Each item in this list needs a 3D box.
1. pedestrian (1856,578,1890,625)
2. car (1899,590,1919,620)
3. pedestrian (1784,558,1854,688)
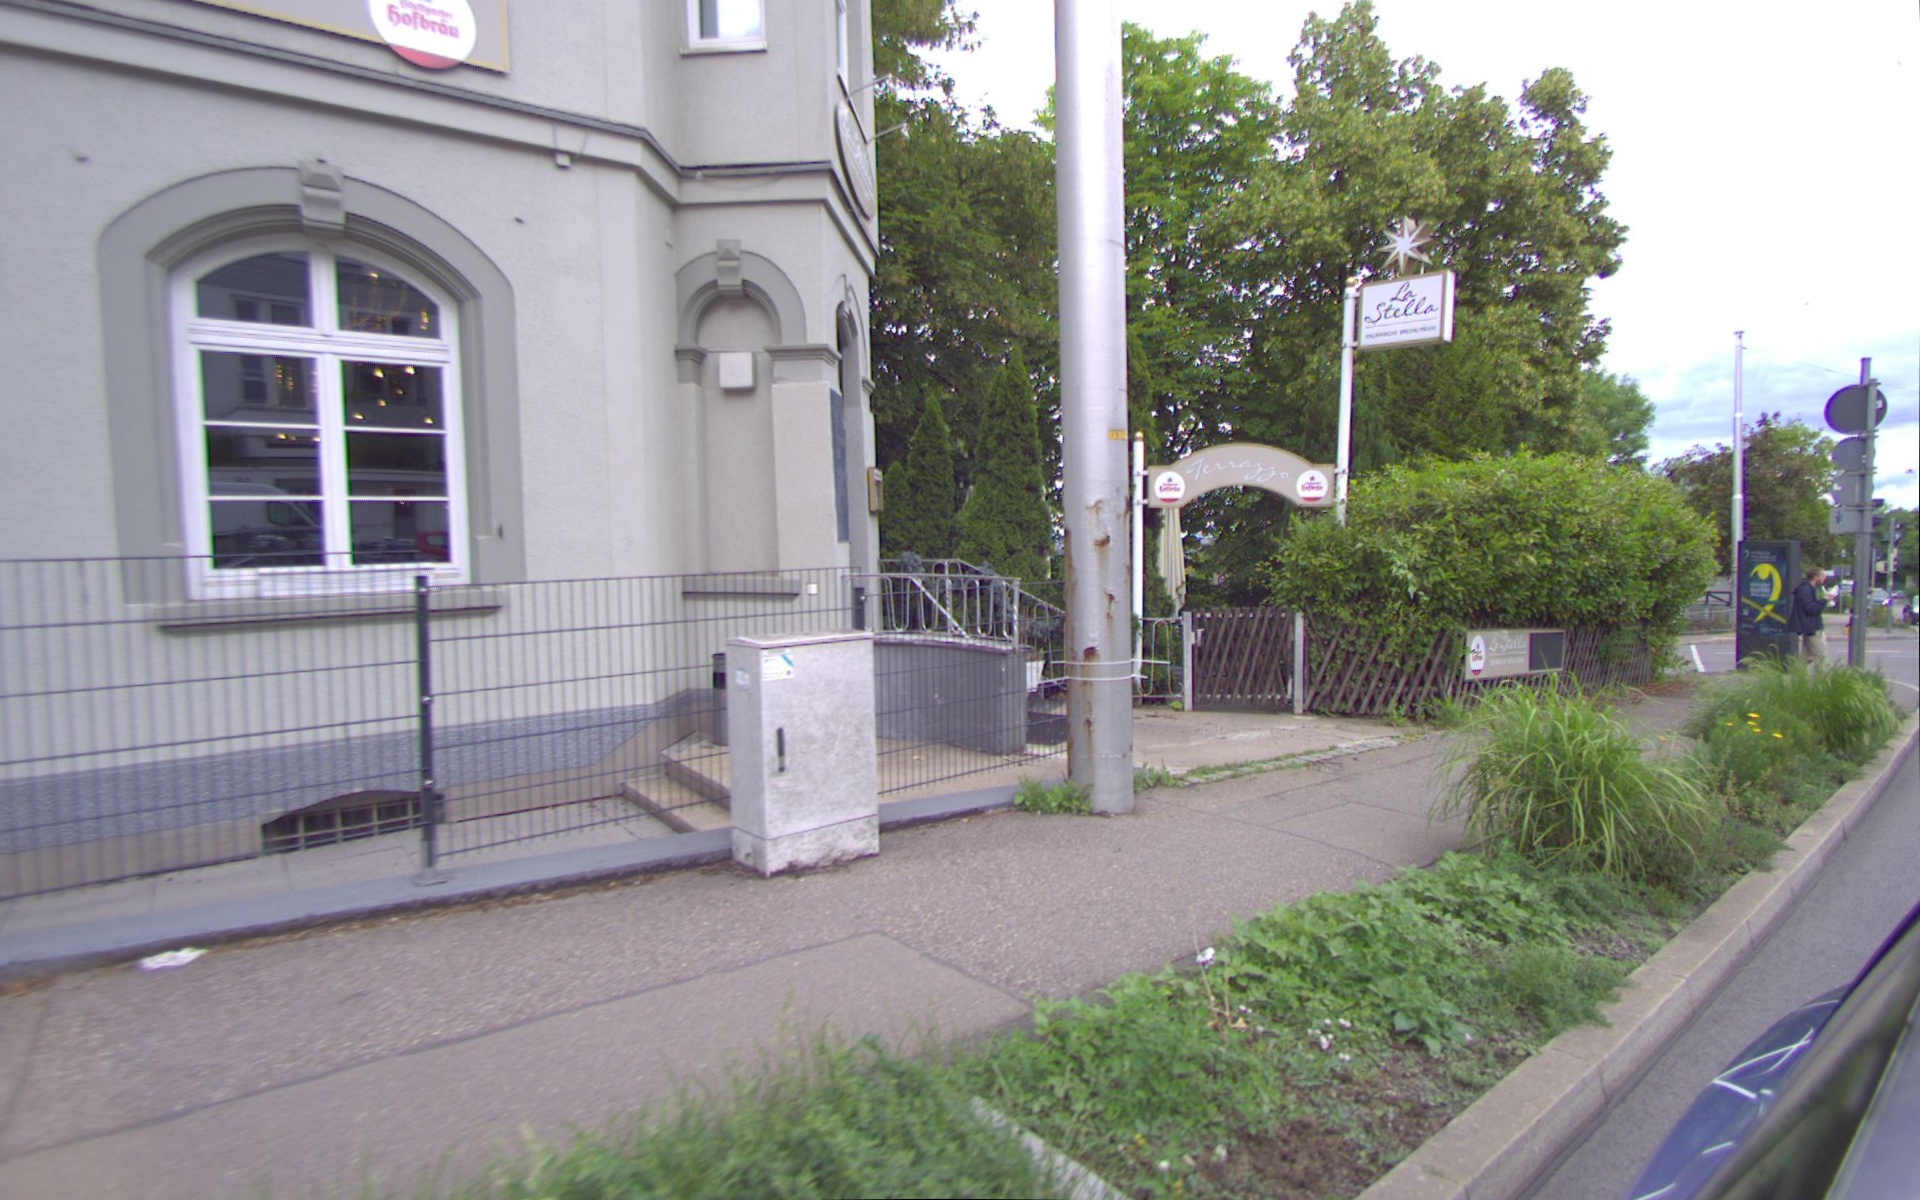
[{"bbox_3d":[34.408,0.044,38.140,0.607,1.709,0.697,0,2,-20],"label":"pedestrian"},{"bbox_3d":[48.072,0.236,50.167,1.799,1.410,4.226,2,2,38],"label":"car"},{"bbox_3d":[12.709,0.325,14.995,0.690,1.857,0.613,0,0,32],"label":"pedestrian"}]
